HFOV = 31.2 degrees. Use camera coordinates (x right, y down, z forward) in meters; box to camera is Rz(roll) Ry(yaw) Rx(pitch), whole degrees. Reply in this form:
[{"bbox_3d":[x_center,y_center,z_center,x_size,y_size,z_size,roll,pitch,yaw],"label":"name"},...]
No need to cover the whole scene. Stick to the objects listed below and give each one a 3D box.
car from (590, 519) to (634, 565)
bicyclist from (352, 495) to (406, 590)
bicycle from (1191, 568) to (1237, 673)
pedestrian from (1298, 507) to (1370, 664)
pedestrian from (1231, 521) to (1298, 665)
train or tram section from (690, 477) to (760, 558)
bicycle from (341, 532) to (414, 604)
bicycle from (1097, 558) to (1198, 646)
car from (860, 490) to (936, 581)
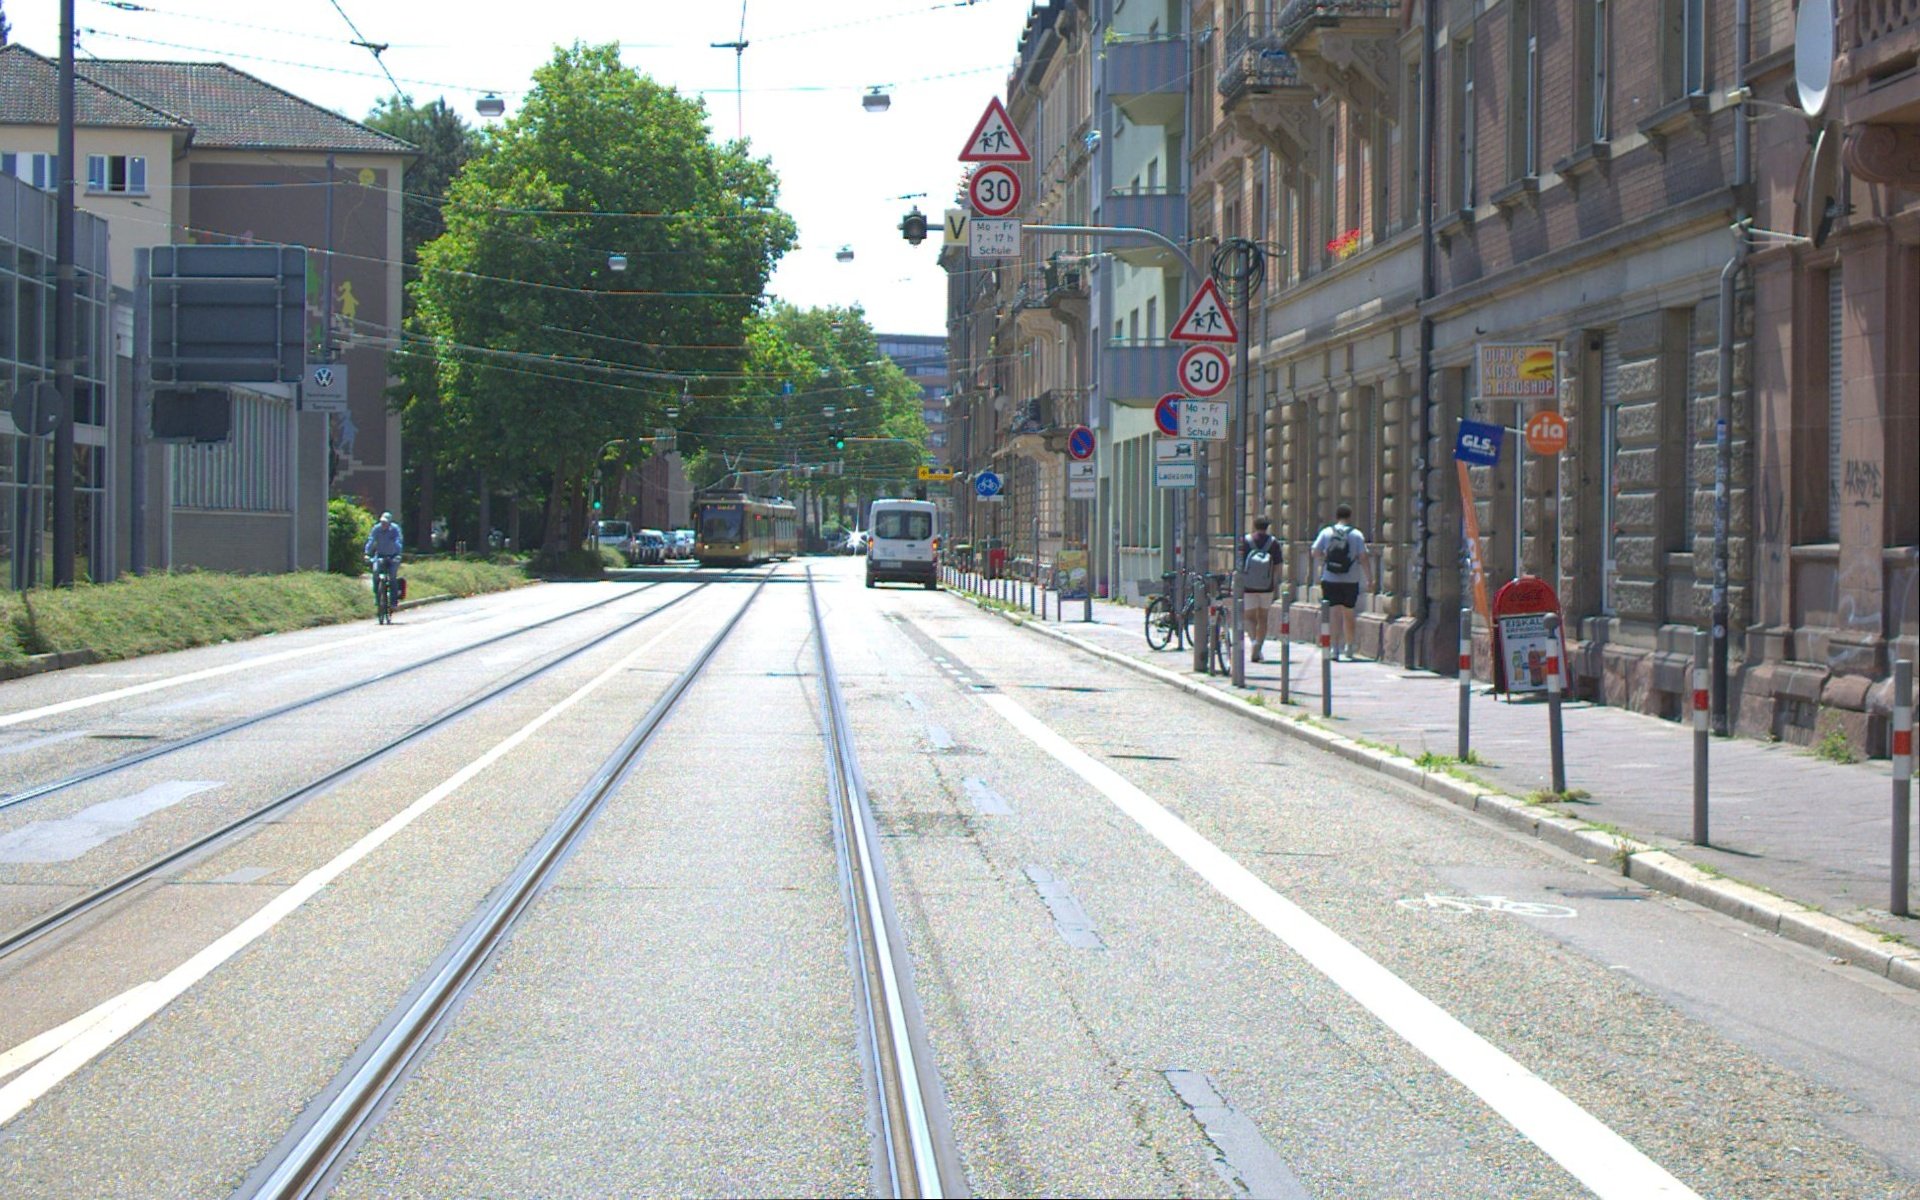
[{"bbox_3d":[-15.113,-2.542,149.401,1.800,1.916,4.001,2,1,-5],"label":"car"},{"bbox_3d":[-9.552,-0.949,56.535,0.698,1.543,0.980,1,1,2],"label":"bicyclist"},{"bbox_3d":[2.790,0.205,37.927,0.447,1.093,2.422,0,1,3],"label":"bicycle"},{"bbox_3d":[4.497,-0.175,41.342,0.702,1.842,0.644,-3,1,-1],"label":"pedestrian"},{"bbox_3d":[3.659,-0.088,41.379,0.720,1.714,0.644,0,1,-1],"label":"pedestrian"},{"bbox_3d":[-10.808,-3.797,159.224,2.960,3.568,13.425,1,1,-3],"label":"train or tram section"},{"bbox_3d":[-9.565,-0.540,56.513,0.698,1.140,2.495,1,1,2],"label":"bicycle"},{"bbox_3d":[2.506,0.008,45.712,0.499,1.127,2.240,1,1,26],"label":"bicycle"},{"bbox_3d":[-1.810,-1.872,99.725,2.067,2.492,5.455,2,1,-1],"label":"car"}]
